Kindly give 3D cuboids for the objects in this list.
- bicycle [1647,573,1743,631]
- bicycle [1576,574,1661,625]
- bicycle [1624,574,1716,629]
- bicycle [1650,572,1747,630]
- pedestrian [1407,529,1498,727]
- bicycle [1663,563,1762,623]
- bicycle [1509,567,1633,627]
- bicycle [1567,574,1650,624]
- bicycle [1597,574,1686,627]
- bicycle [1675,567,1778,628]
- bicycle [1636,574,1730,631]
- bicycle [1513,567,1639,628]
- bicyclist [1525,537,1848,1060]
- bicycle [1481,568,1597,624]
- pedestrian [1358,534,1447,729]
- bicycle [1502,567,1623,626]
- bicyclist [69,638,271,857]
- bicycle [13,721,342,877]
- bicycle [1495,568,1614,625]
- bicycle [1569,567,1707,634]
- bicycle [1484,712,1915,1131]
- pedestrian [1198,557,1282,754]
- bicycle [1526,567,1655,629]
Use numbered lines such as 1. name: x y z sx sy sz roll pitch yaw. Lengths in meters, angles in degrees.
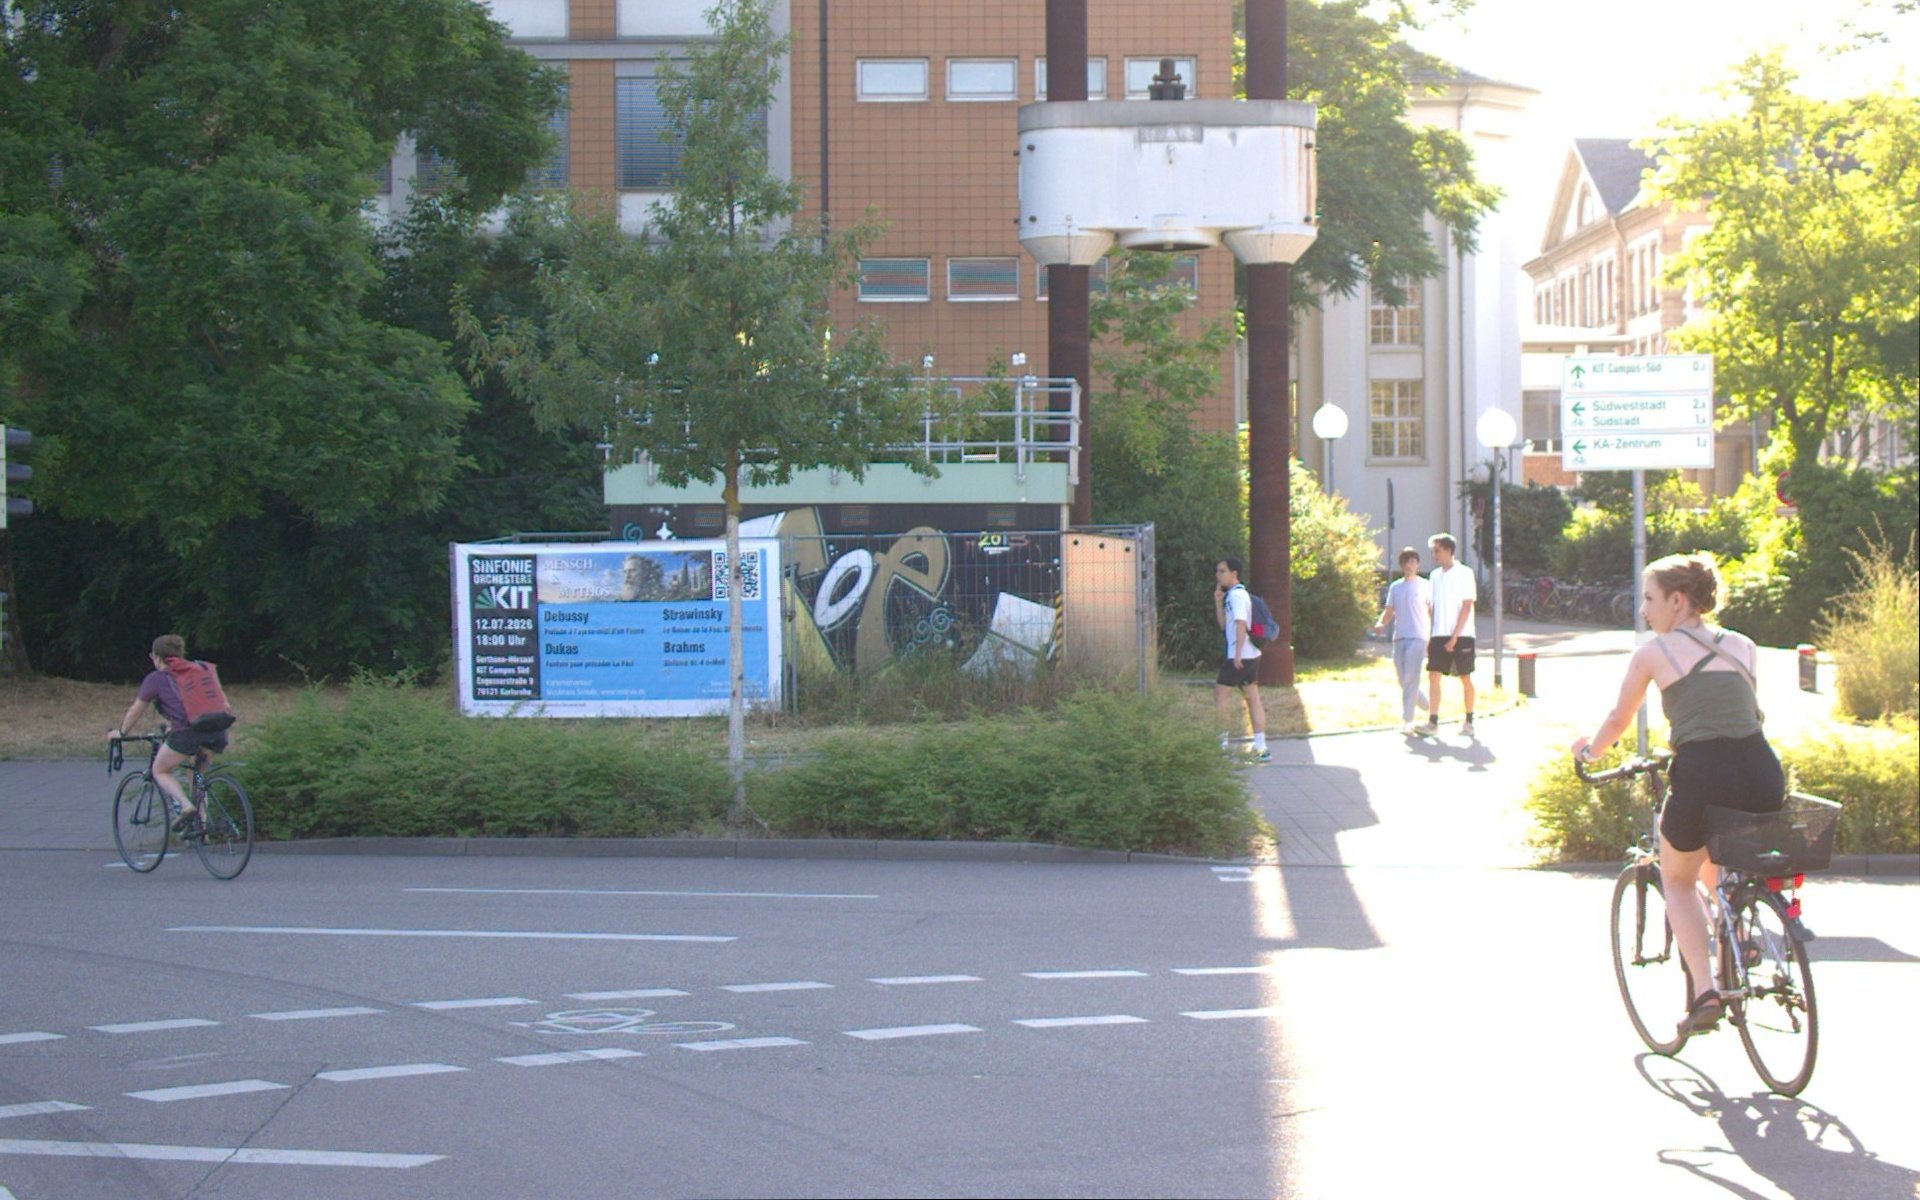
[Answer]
1. bicycle: 14.716 0.035 68.875 1.794 1.104 0.500 2 0 4
2. bicycle: 14.724 -0.014 76.900 1.794 1.104 0.500 2 0 4
3. bicycle: 14.831 0.033 71.834 1.794 1.104 0.500 2 0 4
4. bicycle: 14.627 0.014 68.071 1.794 1.104 0.500 2 0 4
5. pedestrian: 4.694 0.261 32.774 0.575 1.863 0.622 -1 1 -35
6. bicycle: 14.528 -0.139 66.385 1.794 1.104 0.500 2 0 4
7. bicycle: 14.831 -0.069 83.532 2.872 1.376 0.682 2 0 4
8. bicycle: 14.871 -0.027 78.829 1.794 1.104 0.500 2 0 4
9. bicycle: 14.718 0.009 74.282 1.794 1.104 0.500 2 0 4
10. bicycle: 14.366 -0.049 64.457 1.794 1.104 0.500 2 0 4
11. bicycle: 14.792 0.045 70.374 1.794 1.104 0.500 2 0 4
12. bicycle: 14.807 -0.062 82.663 2.872 1.376 0.682 2 0 4
13. bicyclist: 2.422 0.628 11.574 0.778 1.671 1.093 0 1 -5
14. bicycle: 14.956 -0.112 88.902 2.872 1.376 0.682 2 0 4
15. pedestrian: 4.289 0.300 33.321 0.575 1.863 0.622 -1 1 -35
16. bicycle: 14.928 -0.081 85.241 2.872 1.376 0.682 2 0 4
17. bicyclist: -5.133 0.949 22.347 1.074 1.380 0.720 -2 -1 33
18. bicycle: -5.097 1.279 22.319 2.246 0.949 0.720 -2 -1 34
19. bicycle: 15.017 -0.093 86.836 2.872 1.376 0.682 2 0 4
20. bicycle: 14.791 0.004 75.049 2.872 1.376 0.682 2 0 4
21. bicycle: 2.421 1.011 11.576 0.778 1.152 2.291 0 1 -5
22. pedestrian: 2.448 0.479 30.017 0.629 1.693 0.622 0 1 13
23. bicycle: 14.772 -0.045 80.623 2.872 1.376 0.682 2 0 4
